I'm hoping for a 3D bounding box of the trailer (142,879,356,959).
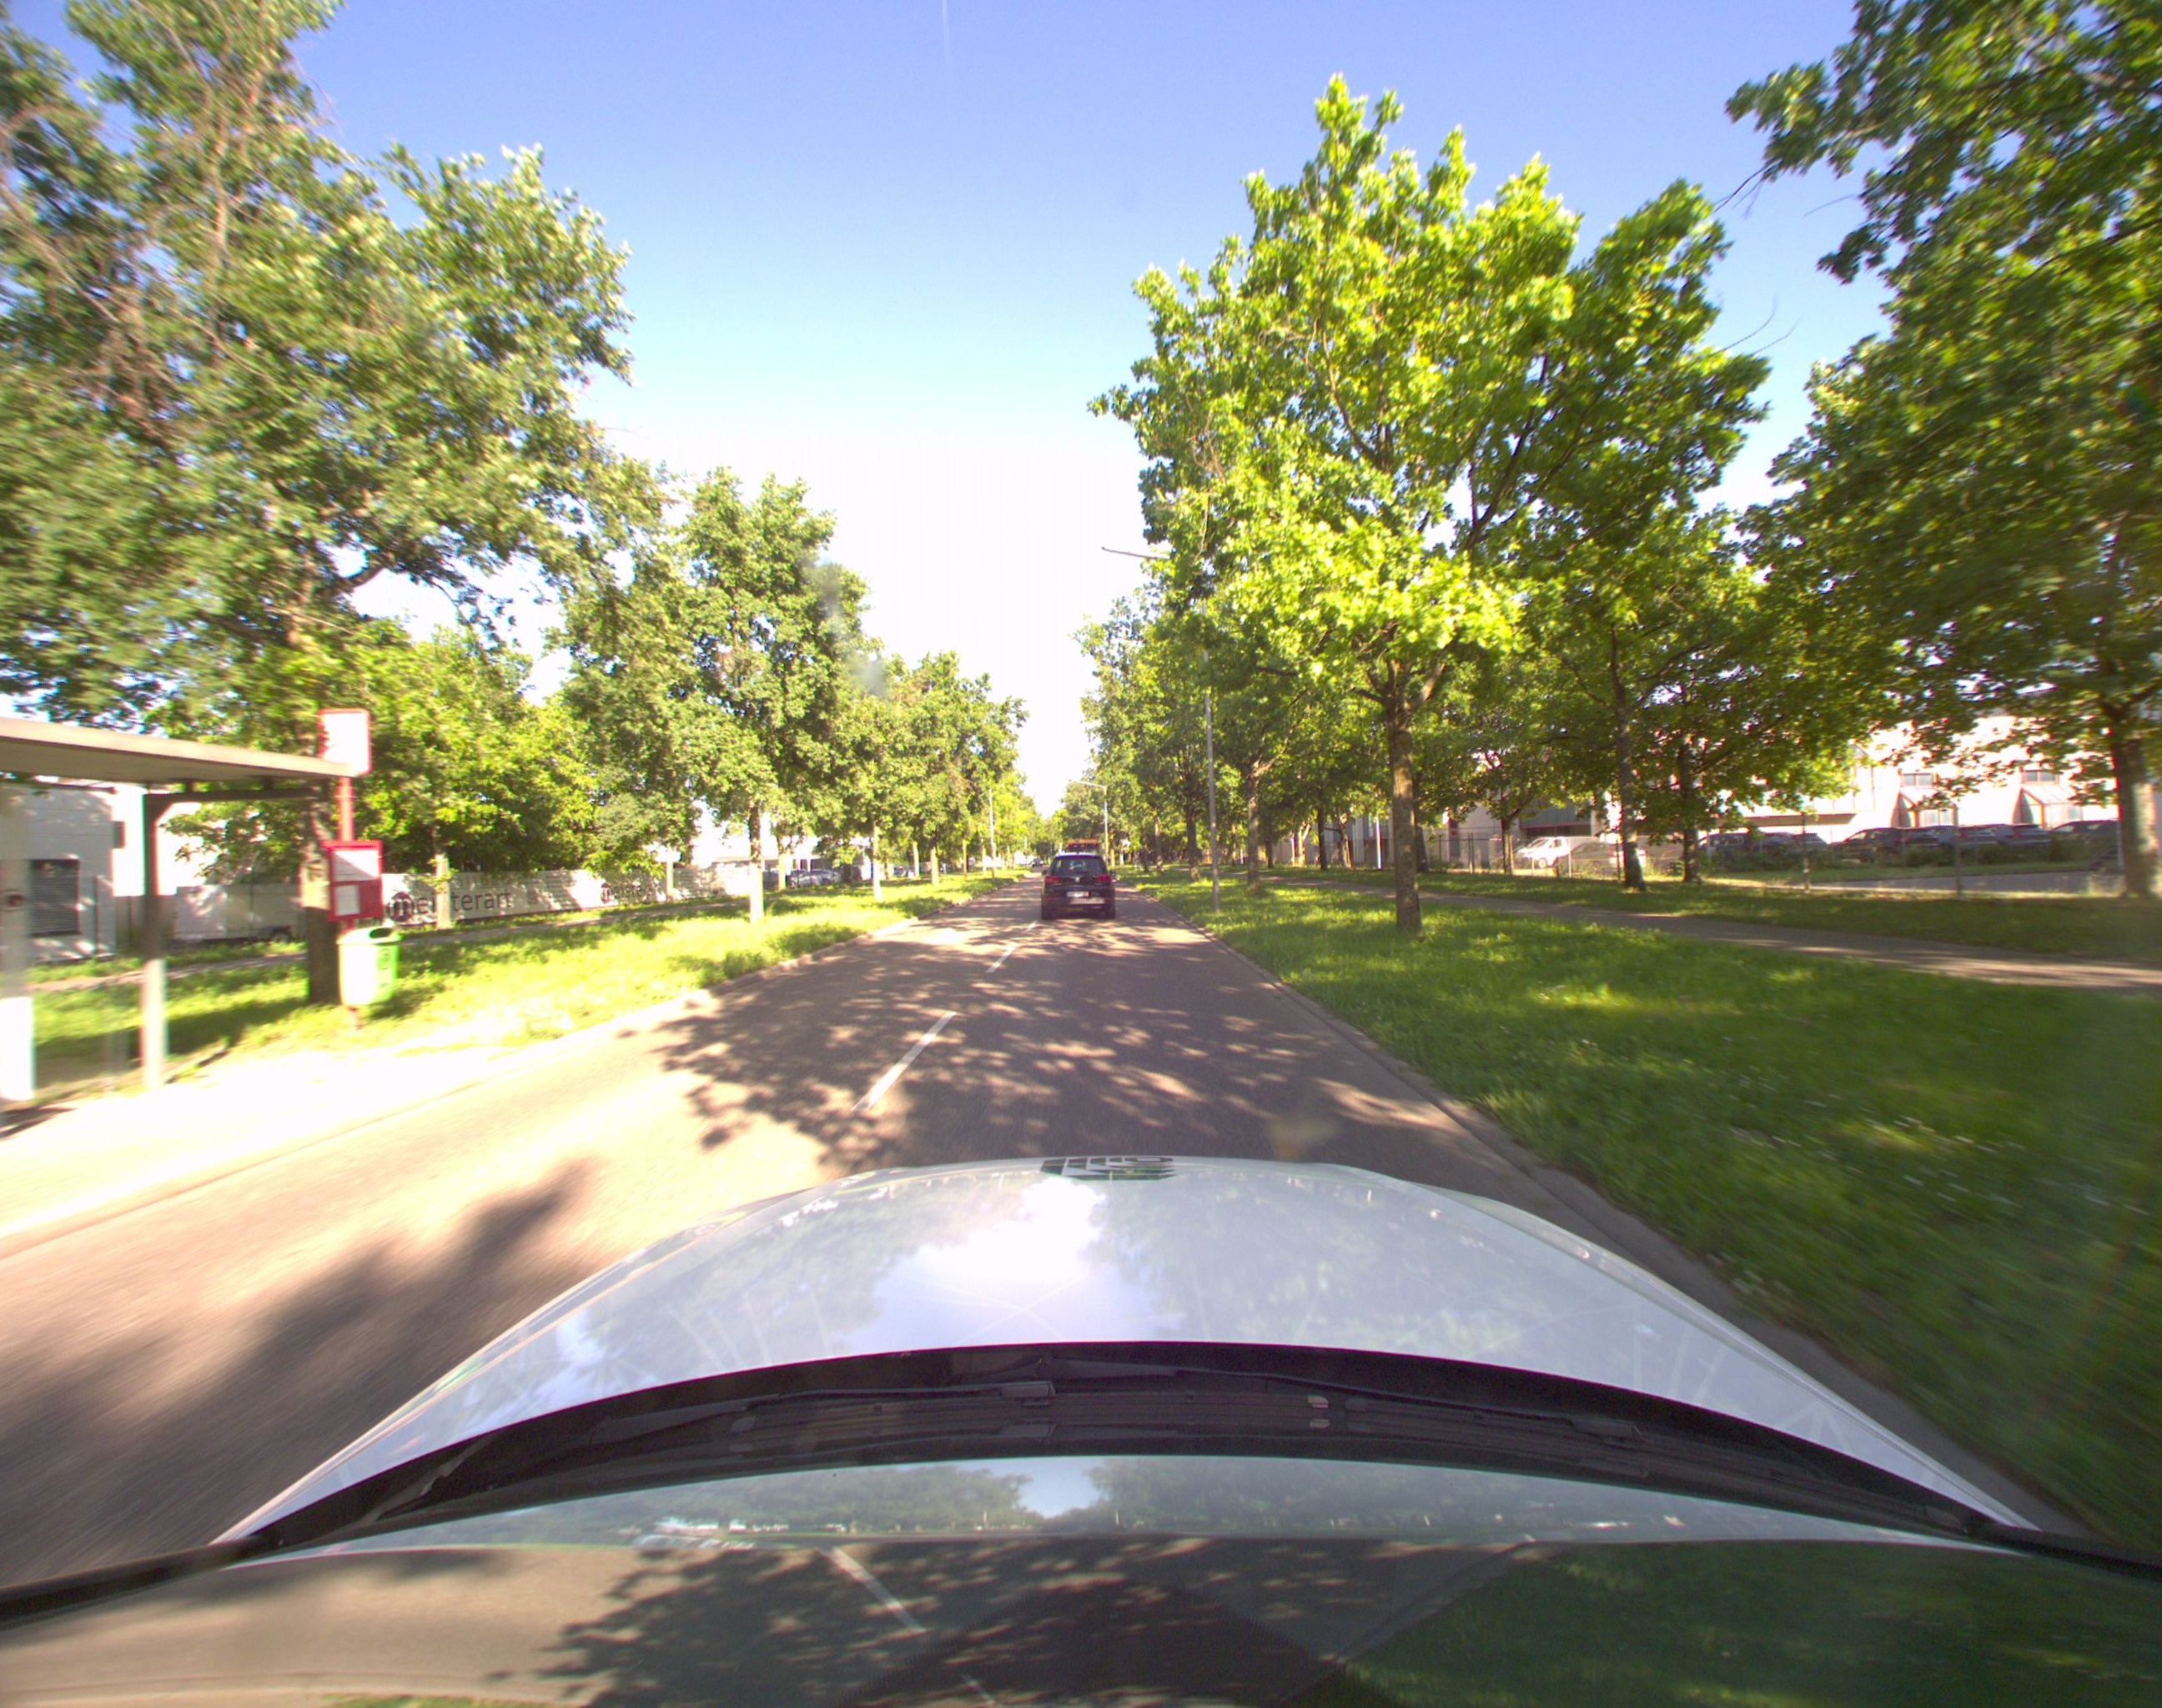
[{"bbox_3d":[-23.430,1.758,23.165,2.094,1.914,3.743,-2,0,3],"label":"trailer"}]

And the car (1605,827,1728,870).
[{"bbox_3d":[26.374,-0.241,36.909,2.177,1.744,4.640,-2,0,0],"label":"car"}]

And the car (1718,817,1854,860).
[{"bbox_3d":[32.034,-0.654,37.234,2.177,1.744,4.640,-2,0,0],"label":"car"}]

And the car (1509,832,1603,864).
[{"bbox_3d":[29.320,-0.376,50.378,4.619,1.744,2.187,-2,0,-5],"label":"car"}]

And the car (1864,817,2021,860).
[{"bbox_3d":[39.033,-0.658,37.102,2.177,1.744,4.640,-2,0,0],"label":"car"}]

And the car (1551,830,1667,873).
[{"bbox_3d":[23.785,-0.112,36.937,2.177,1.744,4.640,-2,0,0],"label":"car"}]

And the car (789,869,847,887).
[{"bbox_3d":[-21.774,1.968,67.559,4.185,1.288,1.941,-2,0,-1],"label":"car"}]

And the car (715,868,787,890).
[{"bbox_3d":[-22.968,1.741,56.772,4.185,1.288,1.941,-2,0,-1],"label":"car"}]

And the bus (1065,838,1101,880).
[{"bbox_3d":[0.294,0.426,73.417,2.754,3.456,11.215,-2,0,2],"label":"bus"}]

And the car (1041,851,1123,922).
[{"bbox_3d":[0.071,0.761,21.470,1.929,1.656,4.428,-1,0,1],"label":"car"}]

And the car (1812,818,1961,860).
[{"bbox_3d":[36.602,-0.645,37.225,2.177,1.744,4.640,-2,0,0],"label":"car"}]

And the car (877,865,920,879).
[{"bbox_3d":[-20.210,2.022,90.086,4.177,1.321,1.945,-2,0,6],"label":"car"}]

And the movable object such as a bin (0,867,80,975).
[{"bbox_3d":[-23.586,1.445,16.029,2.094,2.217,4.464,-2,0,3],"label":"movable object such as a bin"}]

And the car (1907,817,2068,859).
[{"bbox_3d":[41.387,-0.669,37.386,2.177,1.744,4.640,-2,0,0],"label":"car"}]
